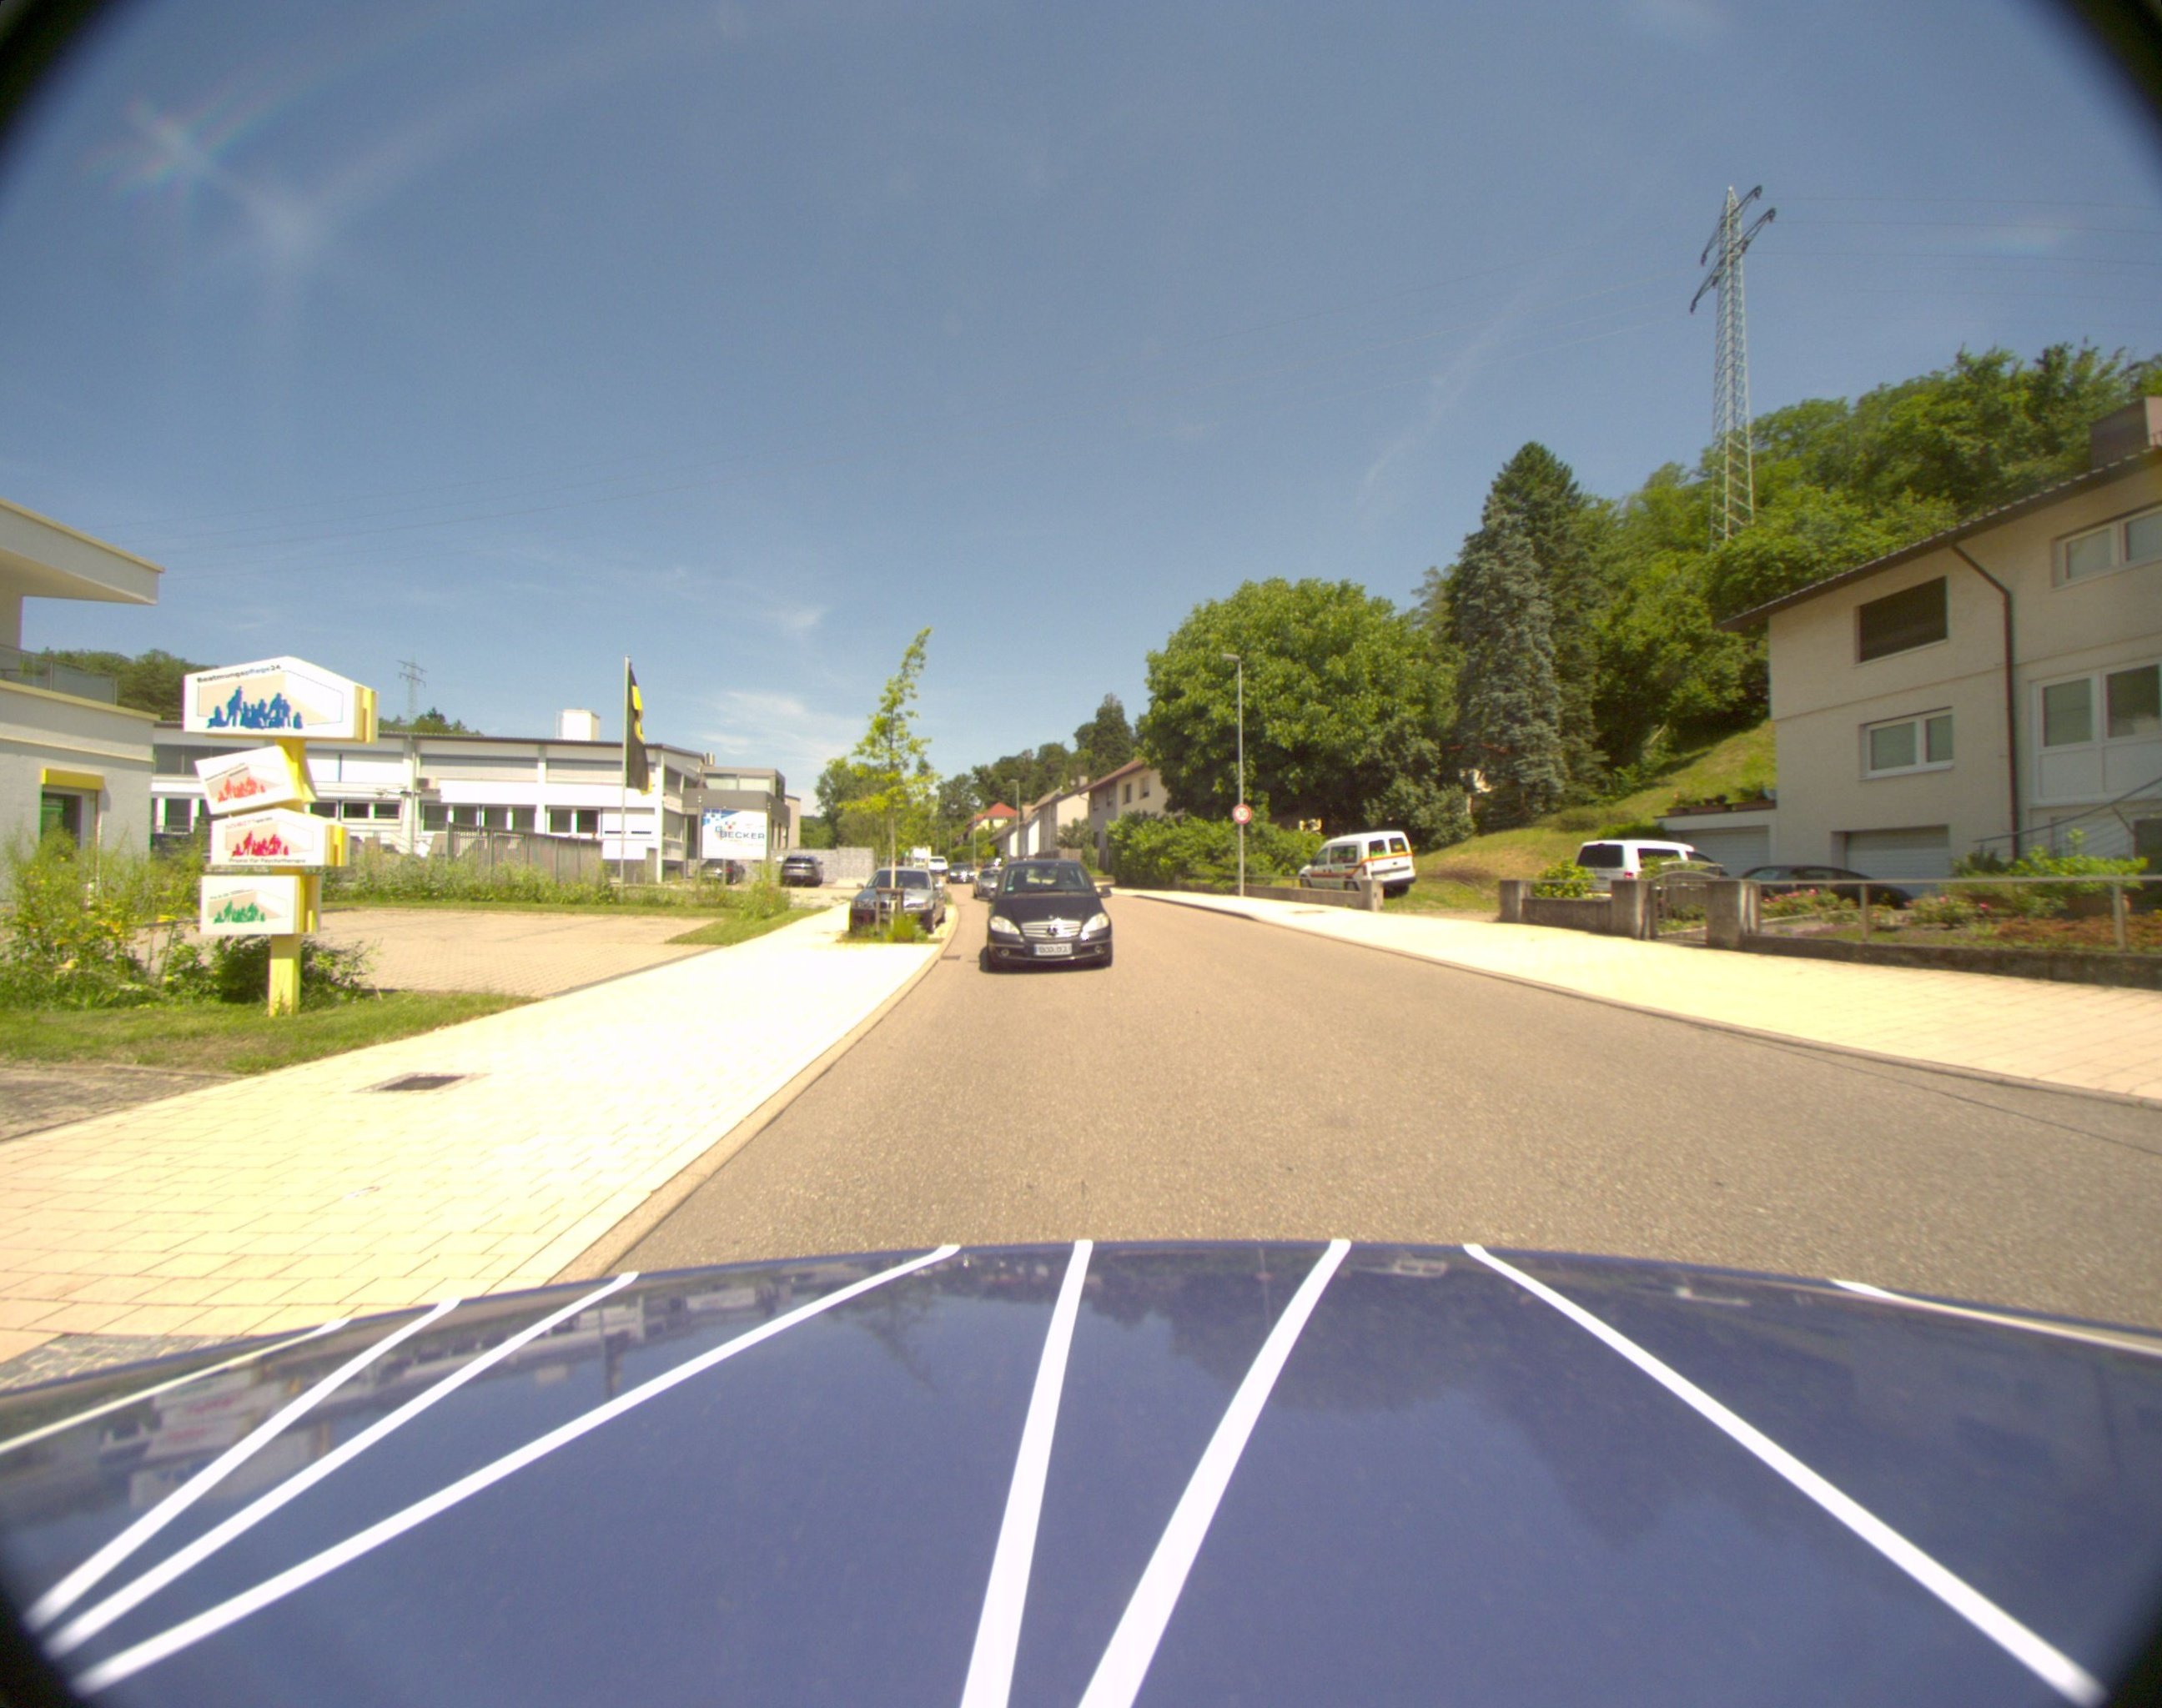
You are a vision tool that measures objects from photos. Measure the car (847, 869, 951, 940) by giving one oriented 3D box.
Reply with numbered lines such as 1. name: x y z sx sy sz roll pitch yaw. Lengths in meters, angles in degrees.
1. car: -3.999 1.057 17.249 1.676 1.368 3.998 1 0 -4

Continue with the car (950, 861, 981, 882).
1. car: -7.996 1.192 52.362 1.912 1.341 3.996 -1 0 -11

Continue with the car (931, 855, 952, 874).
1. car: -13.851 1.029 75.559 1.970 1.823 4.460 1 0 -11

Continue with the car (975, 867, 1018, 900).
1. car: -3.531 1.185 31.577 1.668 1.253 3.550 -1 0 -8

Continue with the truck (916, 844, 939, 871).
1. truck: -20.510 0.479 102.108 2.808 3.394 8.112 1 0 -10

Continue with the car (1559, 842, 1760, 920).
1. car: 14.223 0.697 18.748 4.002 1.778 1.810 1 -4 -15

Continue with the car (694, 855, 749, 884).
1. car: -18.450 0.769 39.157 1.746 1.357 3.836 2 -1 -13

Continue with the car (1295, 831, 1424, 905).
1. car: 7.987 0.373 22.212 1.705 1.937 3.996 -1 0 -11

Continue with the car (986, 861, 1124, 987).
1. car: -0.545 0.947 12.136 1.791 1.595 4.073 -2 0 -6

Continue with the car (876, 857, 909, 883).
1. car: -11.637 0.969 46.787 1.653 1.520 3.858 -1 0 -18

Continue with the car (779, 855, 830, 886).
1. car: -14.450 0.848 39.875 2.001 1.477 3.995 2 -1 -13
